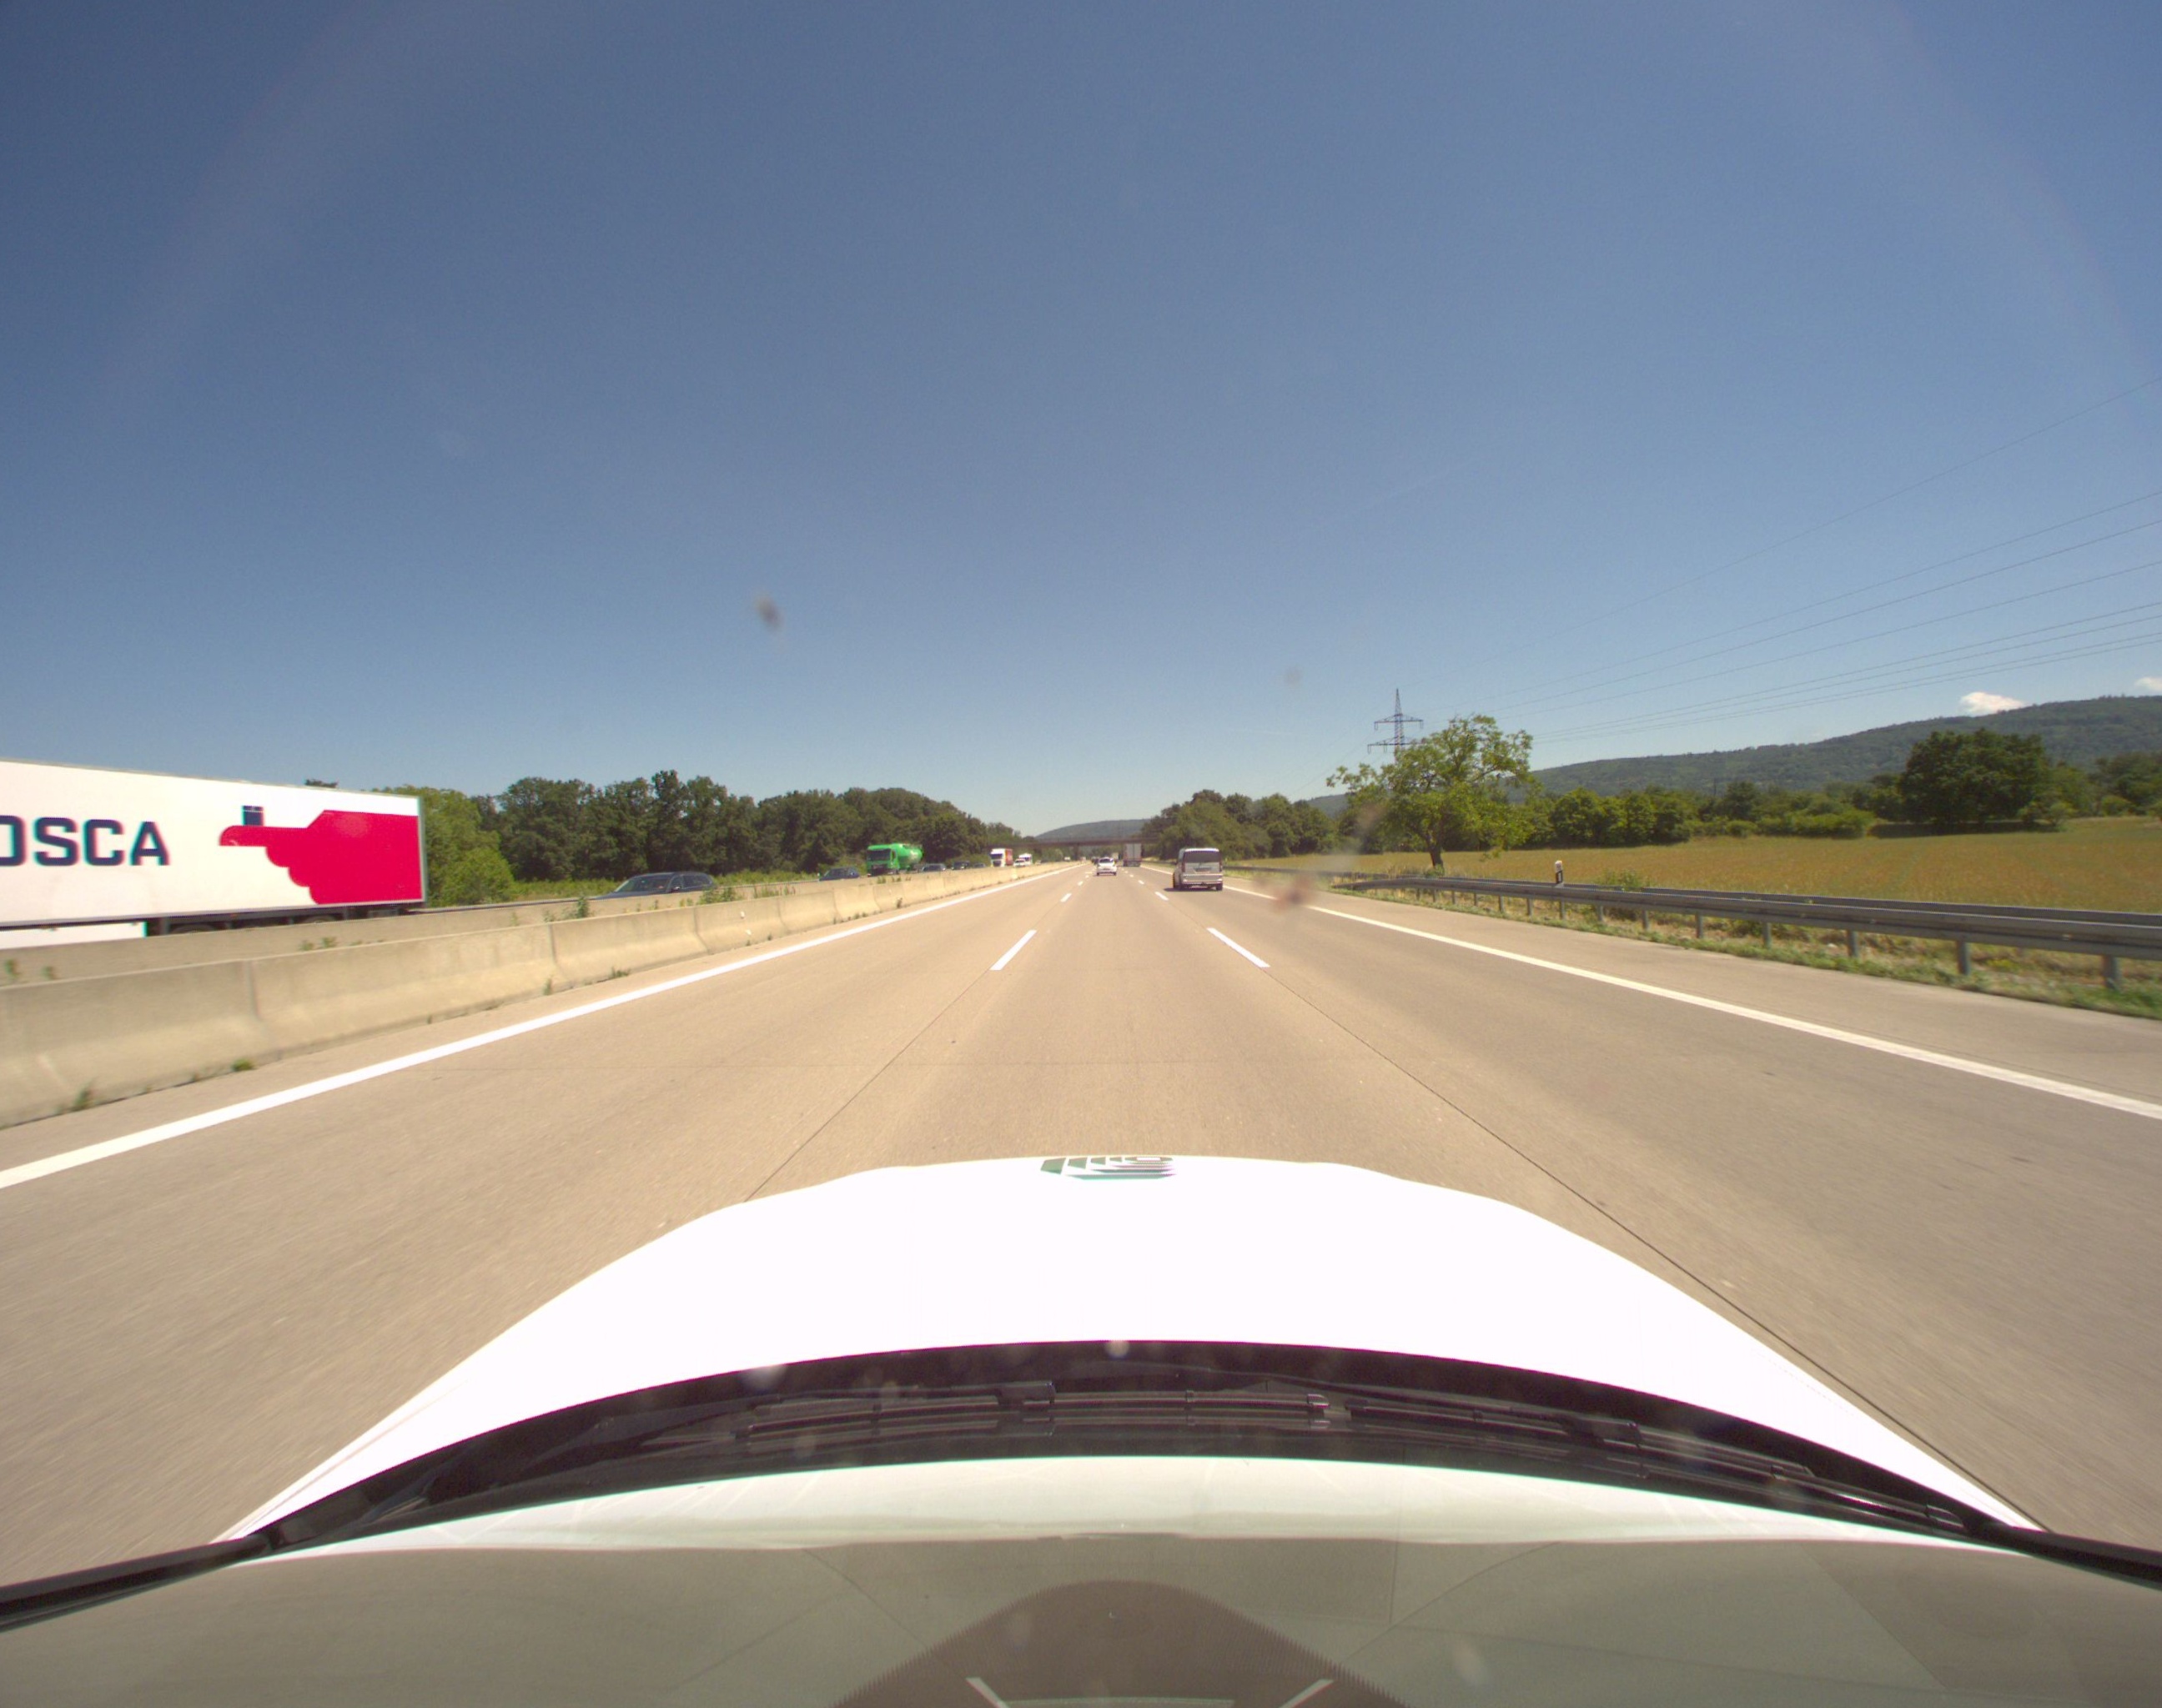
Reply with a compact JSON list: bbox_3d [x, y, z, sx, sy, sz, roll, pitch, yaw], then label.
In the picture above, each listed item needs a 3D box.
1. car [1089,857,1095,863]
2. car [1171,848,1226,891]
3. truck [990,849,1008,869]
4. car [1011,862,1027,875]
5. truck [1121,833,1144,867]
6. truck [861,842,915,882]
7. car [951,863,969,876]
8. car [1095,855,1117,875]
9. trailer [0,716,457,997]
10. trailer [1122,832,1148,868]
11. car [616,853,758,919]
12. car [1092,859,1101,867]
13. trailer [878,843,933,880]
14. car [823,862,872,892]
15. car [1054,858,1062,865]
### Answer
[{"bbox_3d":[3.369,1.824,247.883,1.922,1.794,4.001,0,0,1],"label":"car"},{"bbox_3d":[5.290,0.677,37.073,1.986,1.849,4.001,0,0,1],"label":"car"},{"bbox_3d":[-15.791,0.958,156.455,2.547,3.849,6.792,0,0,1],"label":"truck"},{"bbox_3d":[-9.111,2.083,119.100,1.922,1.794,4.001,0,0,1],"label":"car"},{"bbox_3d":[9.178,-0.699,146.842,3.709,5.811,7.053,0,0,0],"label":"truck"},{"bbox_3d":[-18.484,0.704,78.556,3.038,3.634,7.980,0,0,1],"label":"truck"},{"bbox_3d":[-16.995,2.139,114.451,1.922,1.794,4.001,0,0,1],"label":"car"},{"bbox_3d":[2.176,0.928,70.791,1.813,1.661,4.001,-1,0,1],"label":"car"},{"bbox_3d":[-19.737,0.050,16.215,3.070,4.762,14.380,0,0,2],"label":"trailer"},{"bbox_3d":[9.162,-0.689,140.044,3.708,5.811,12.161,0,0,0],"label":"trailer"},{"bbox_3d":[-11.767,0.891,24.724,1.986,1.795,4.469,0,0,2],"label":"car"},{"bbox_3d":[3.474,1.919,179.562,1.922,1.794,4.000,0,0,0],"label":"car"},{"bbox_3d":[-18.311,0.693,85.856,3.038,3.634,11.671,0,0,1],"label":"trailer"},{"bbox_3d":[-15.016,1.447,52.539,1.922,1.794,4.001,0,0,1],"label":"car"},{"bbox_3d":[-6.198,1.922,218.397,1.921,1.794,4.003,0,0,3],"label":"car"}]
